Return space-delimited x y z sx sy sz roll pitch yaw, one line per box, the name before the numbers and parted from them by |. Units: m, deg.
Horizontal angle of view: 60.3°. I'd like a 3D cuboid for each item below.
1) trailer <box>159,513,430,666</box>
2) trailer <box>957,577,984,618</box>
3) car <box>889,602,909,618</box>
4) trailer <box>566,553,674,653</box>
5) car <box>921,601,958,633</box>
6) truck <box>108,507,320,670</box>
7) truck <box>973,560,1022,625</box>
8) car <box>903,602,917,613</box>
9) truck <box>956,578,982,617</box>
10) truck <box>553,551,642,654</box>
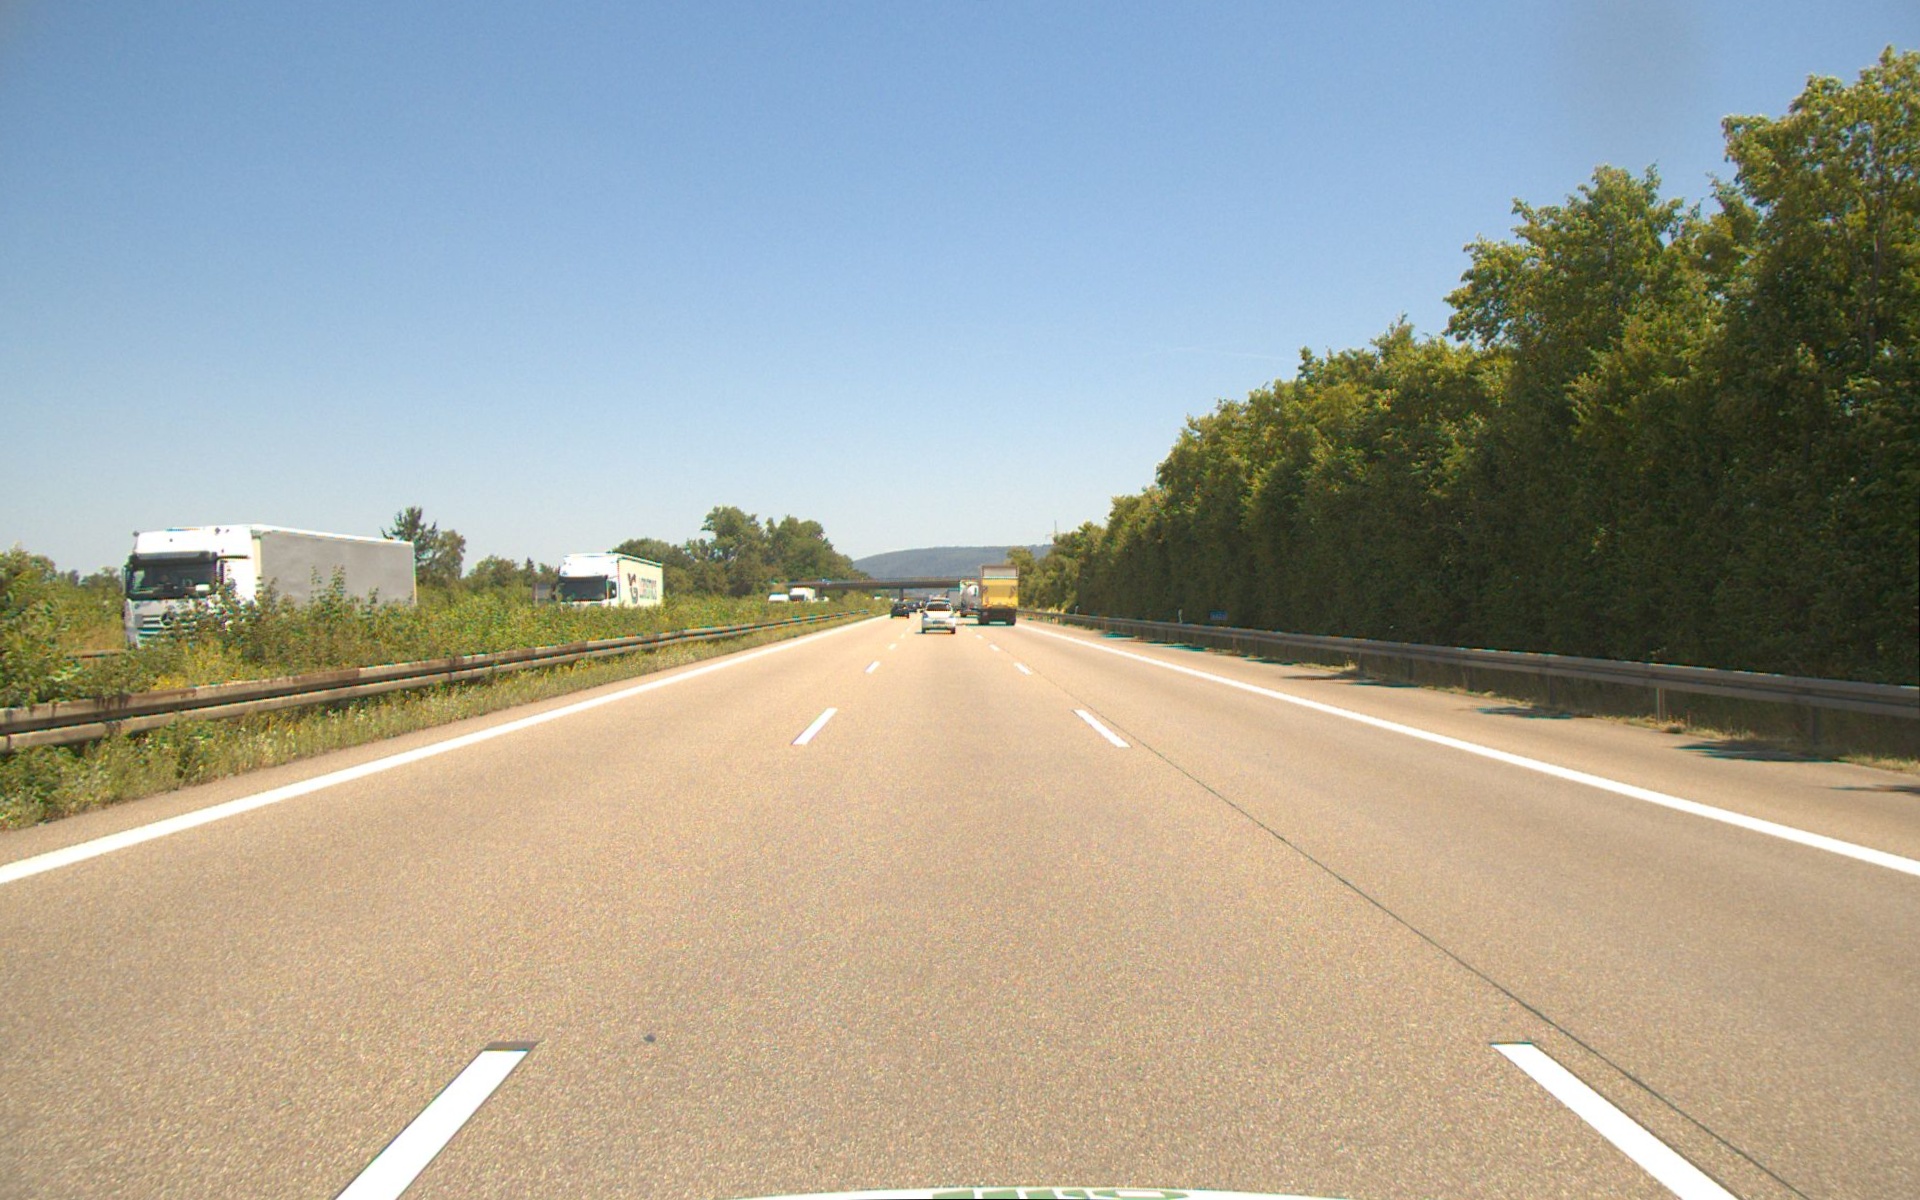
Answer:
trailer | -20.506 -0.259 52.405 2.895 4.129 14.322 1 0 -1
trailer | 1.074 -0.256 176.856 2.528 4.146 11.099 1 0 -1
car | -5.767 0.931 156.221 1.798 1.411 3.999 1 0 -1
trailer | -17.092 0.157 84.249 2.764 4.605 13.863 1 0 -1
car | -1.003 0.806 81.442 1.770 1.494 3.999 1 0 -1
truck | -20.417 -0.284 45.748 2.892 4.134 6.537 1 0 -1
truck | 2.576 -0.488 116.561 2.874 4.273 10.678 1 0 -1
car | -6.961 1.015 230.583 1.798 1.411 3.999 1 0 -1
truck | 0.954 -0.232 182.125 2.521 4.143 6.390 1 0 -1
truck | -17.008 0.131 77.977 2.764 4.606 6.537 1 0 -1
